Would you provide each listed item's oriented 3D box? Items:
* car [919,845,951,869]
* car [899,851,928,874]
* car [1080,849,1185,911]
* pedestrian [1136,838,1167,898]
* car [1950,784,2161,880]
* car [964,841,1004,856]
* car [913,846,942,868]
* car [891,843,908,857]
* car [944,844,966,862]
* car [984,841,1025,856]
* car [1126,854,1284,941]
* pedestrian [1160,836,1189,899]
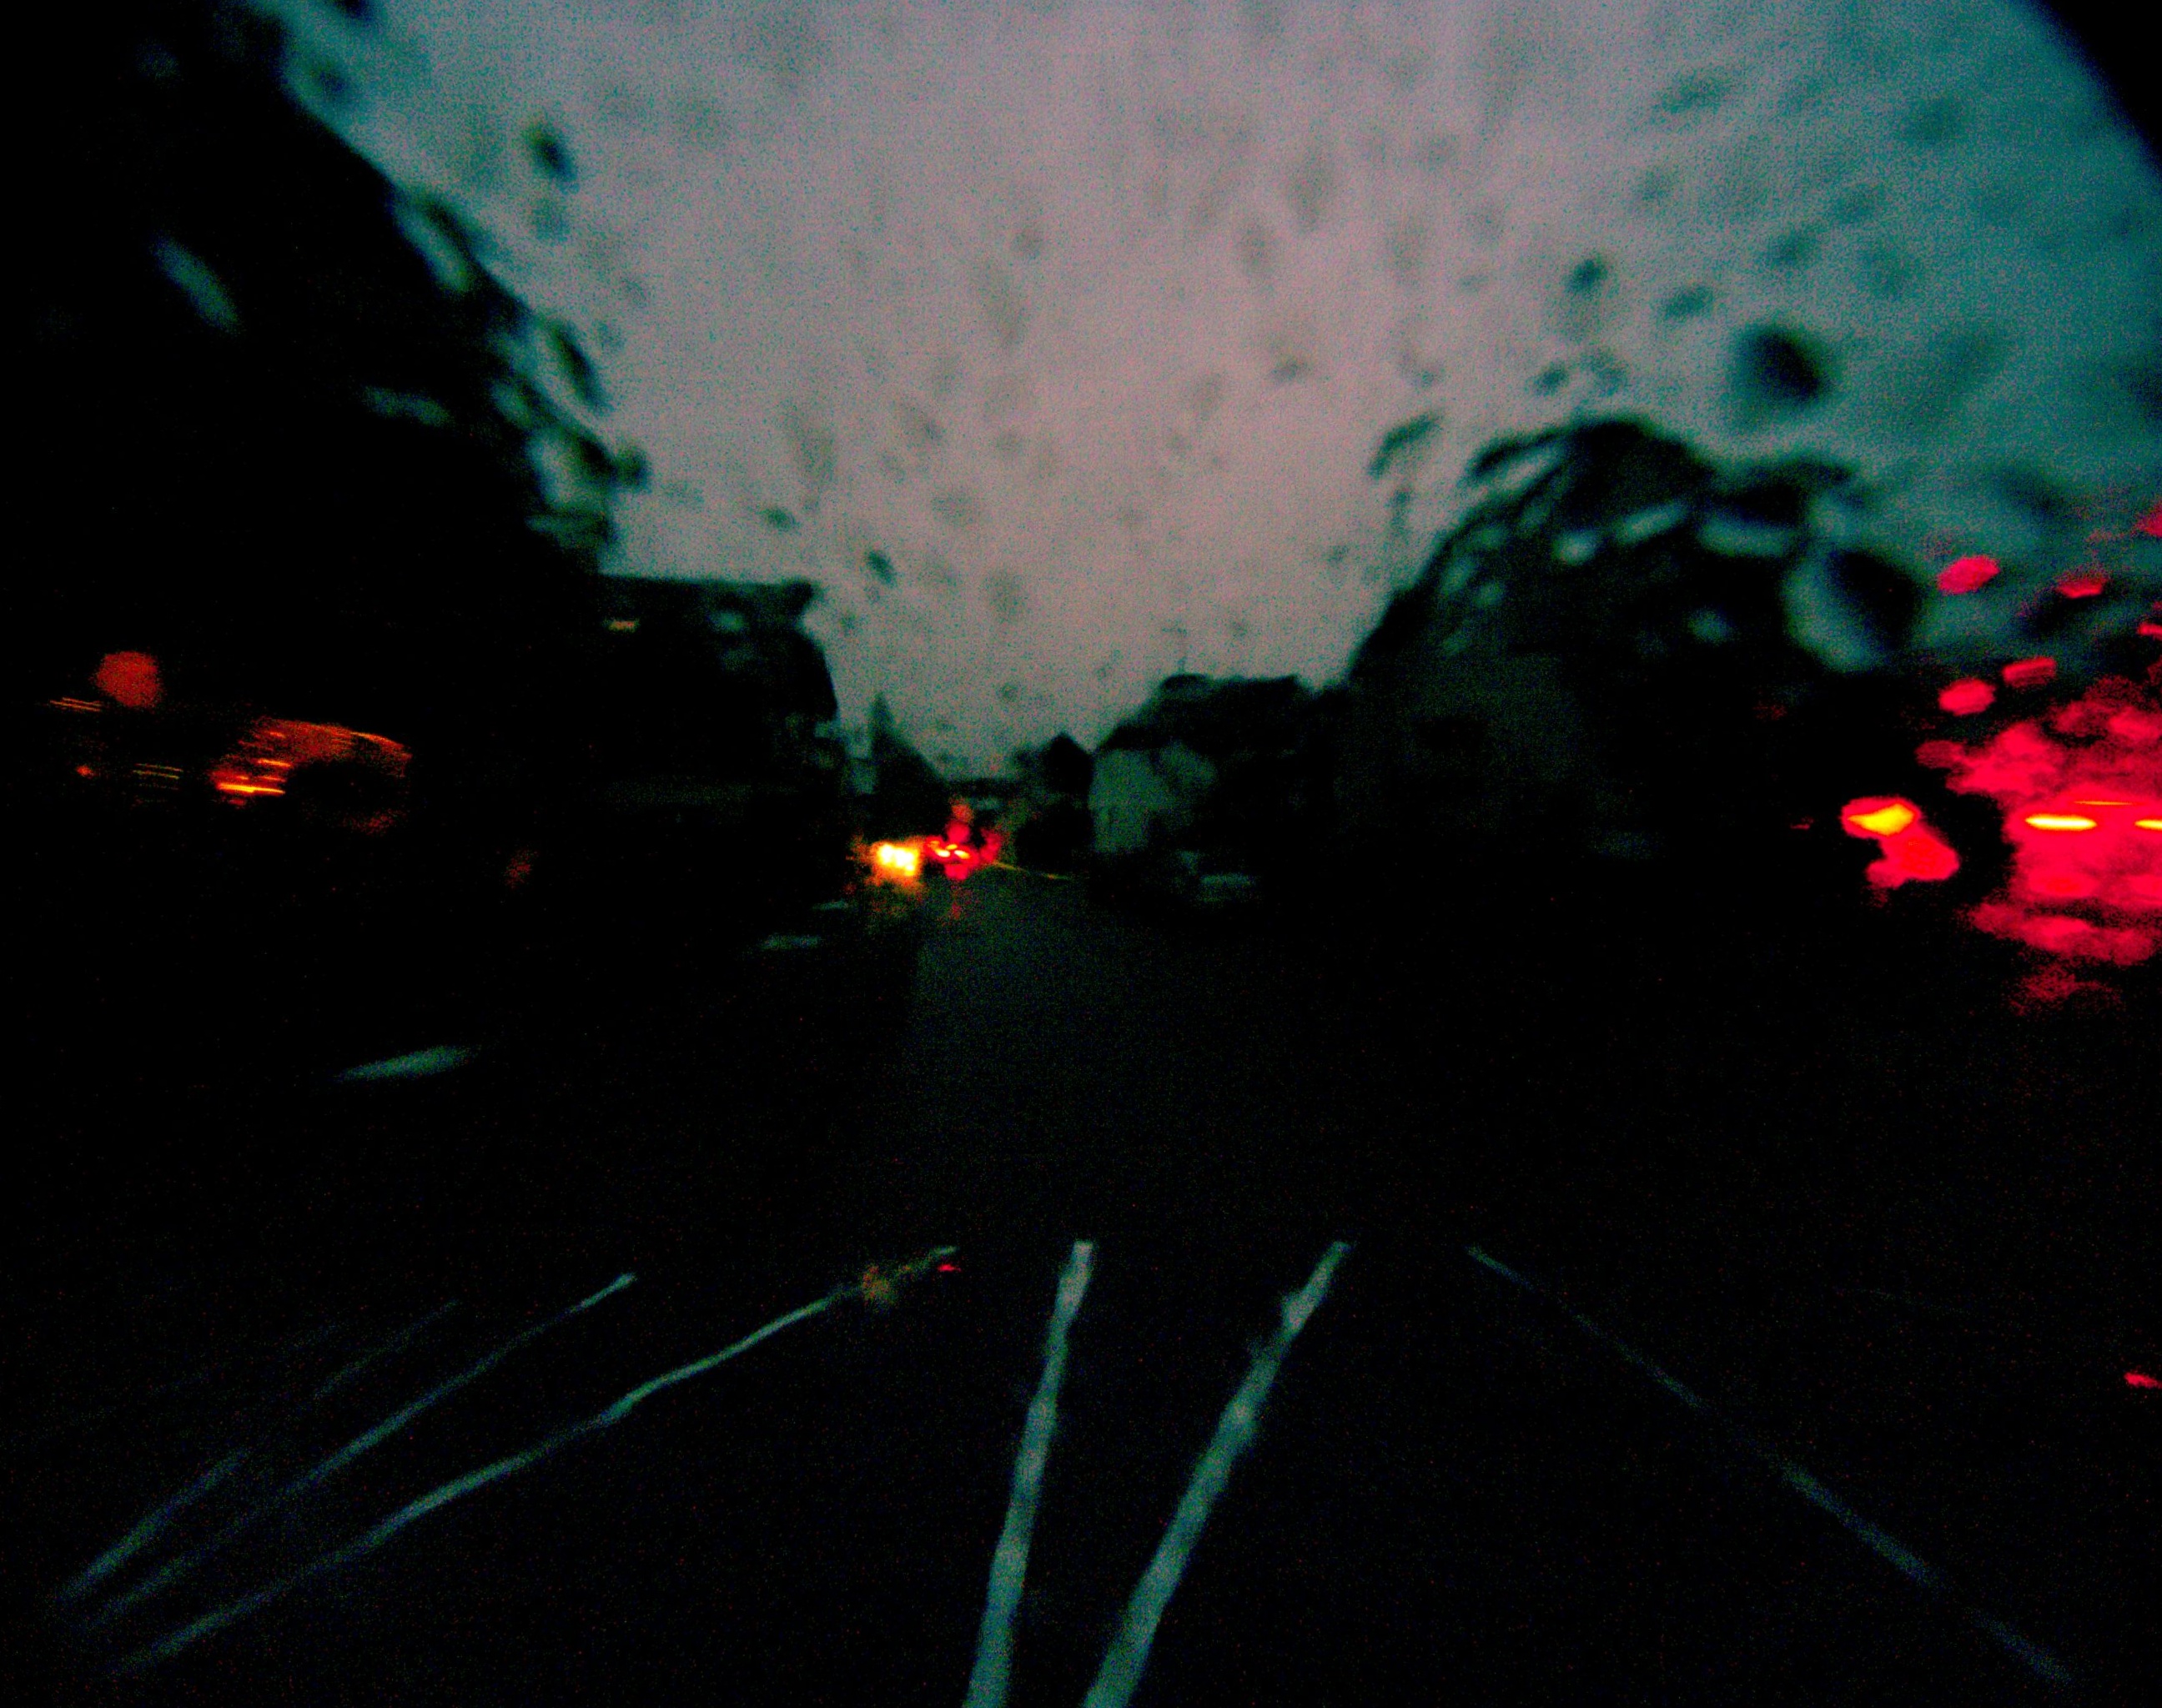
[{"bbox_3d":[-10.065,0.173,52.116,1.733,1.424,4.790,-2,2,-16],"label":"car"},{"bbox_3d":[-16.199,0.797,73.388,2.002,2.002,3.991,-2,2,-23],"label":"car"},{"bbox_3d":[1.283,0.623,20.762,1.829,1.432,4.063,-2,1,-11],"label":"car"},{"bbox_3d":[2.149,0.407,23.240,0.708,1.769,0.811,-2,3,-11],"label":"pedestrian"},{"bbox_3d":[19.181,-0.475,14.850,1.994,1.622,4.006,-1,3,36],"label":"car"},{"bbox_3d":[-11.385,-0.652,88.958,4.483,1.570,1.997,-2,2,-14],"label":"car"},{"bbox_3d":[-11.838,0.199,58.447,1.797,1.431,4.615,-2,2,-15],"label":"car"},{"bbox_3d":[-21.578,-0.501,90.147,1.767,1.489,3.993,-3,2,-15],"label":"car"},{"bbox_3d":[-12.273,-0.118,73.895,1.764,1.572,3.994,-2,2,-13],"label":"car"},{"bbox_3d":[-8.233,-0.592,81.287,4.224,1.417,2.004,0,3,42],"label":"car"},{"bbox_3d":[2.287,0.744,15.171,1.755,1.381,4.141,-2,1,-11],"label":"car"},{"bbox_3d":[2.834,0.402,23.084,0.600,1.859,0.811,-2,3,-12],"label":"pedestrian"}]
